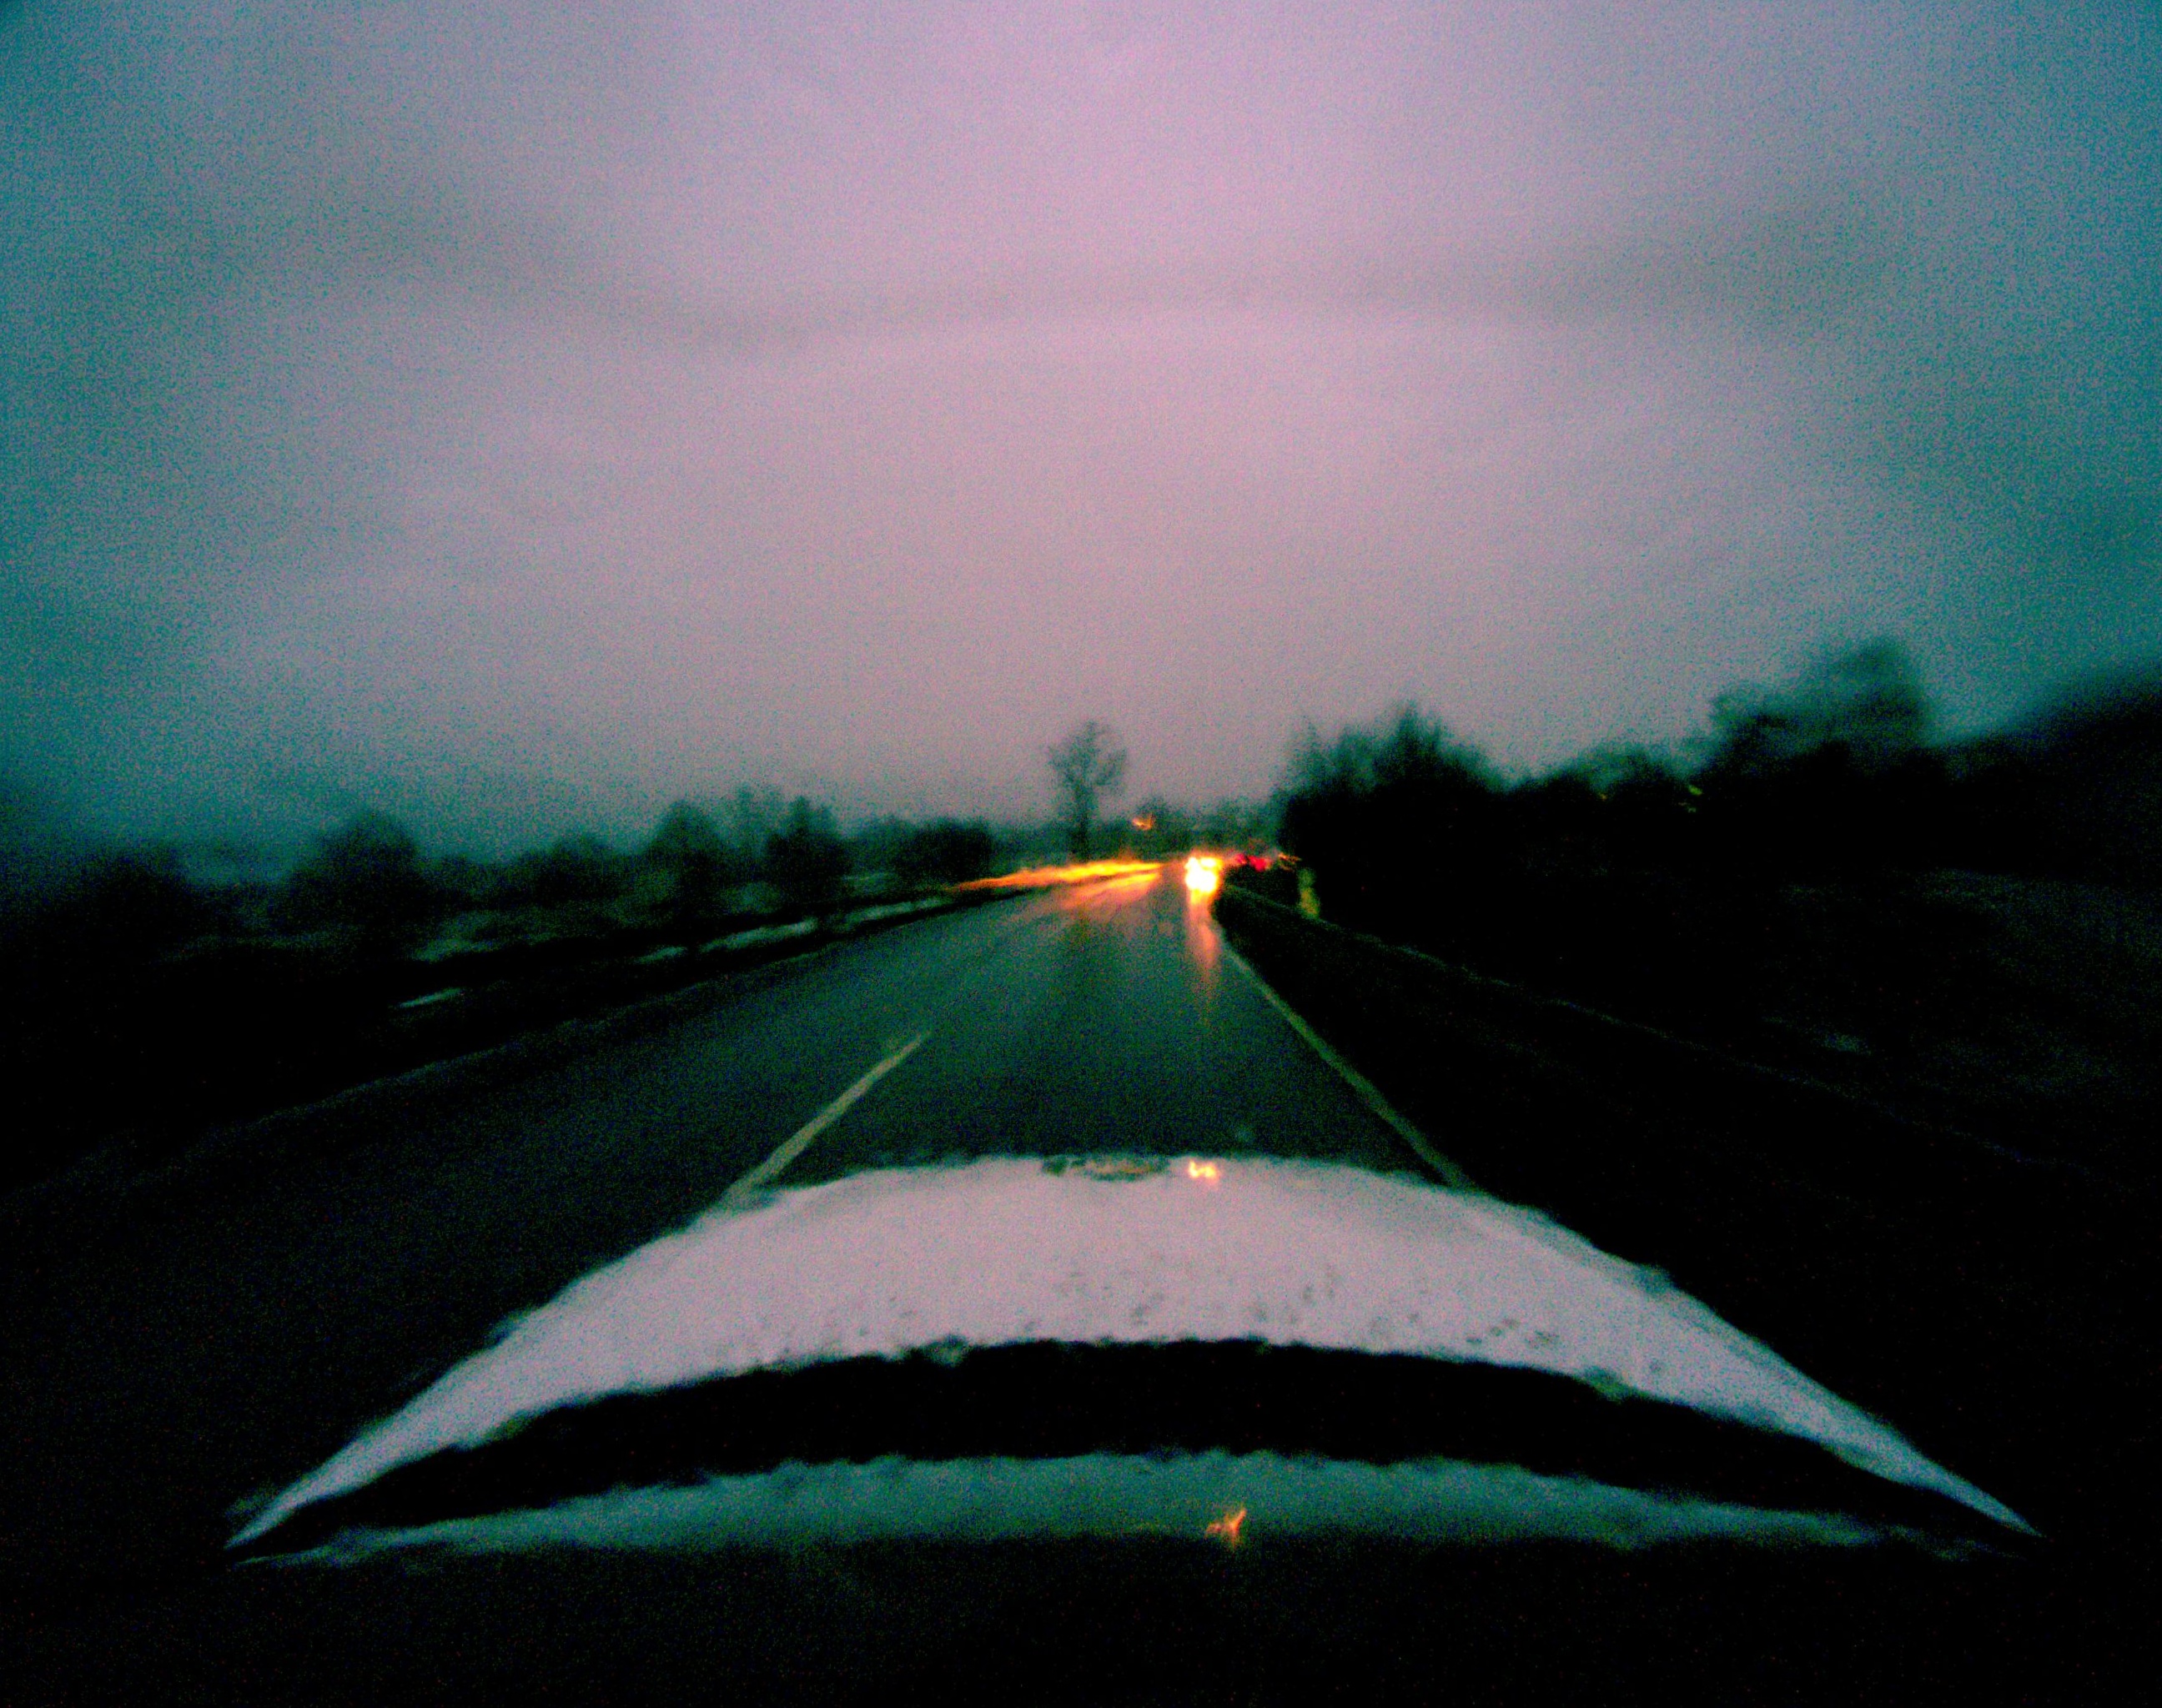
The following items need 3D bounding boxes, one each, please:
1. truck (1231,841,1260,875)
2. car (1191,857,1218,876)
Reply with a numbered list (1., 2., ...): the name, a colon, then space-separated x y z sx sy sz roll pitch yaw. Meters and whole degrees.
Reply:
1. truck: 16.384 0.312 81.290 2.517 2.868 5.941 4 3 10
2. car: 11.469 1.155 75.281 1.996 1.634 4.891 -1 0 13
